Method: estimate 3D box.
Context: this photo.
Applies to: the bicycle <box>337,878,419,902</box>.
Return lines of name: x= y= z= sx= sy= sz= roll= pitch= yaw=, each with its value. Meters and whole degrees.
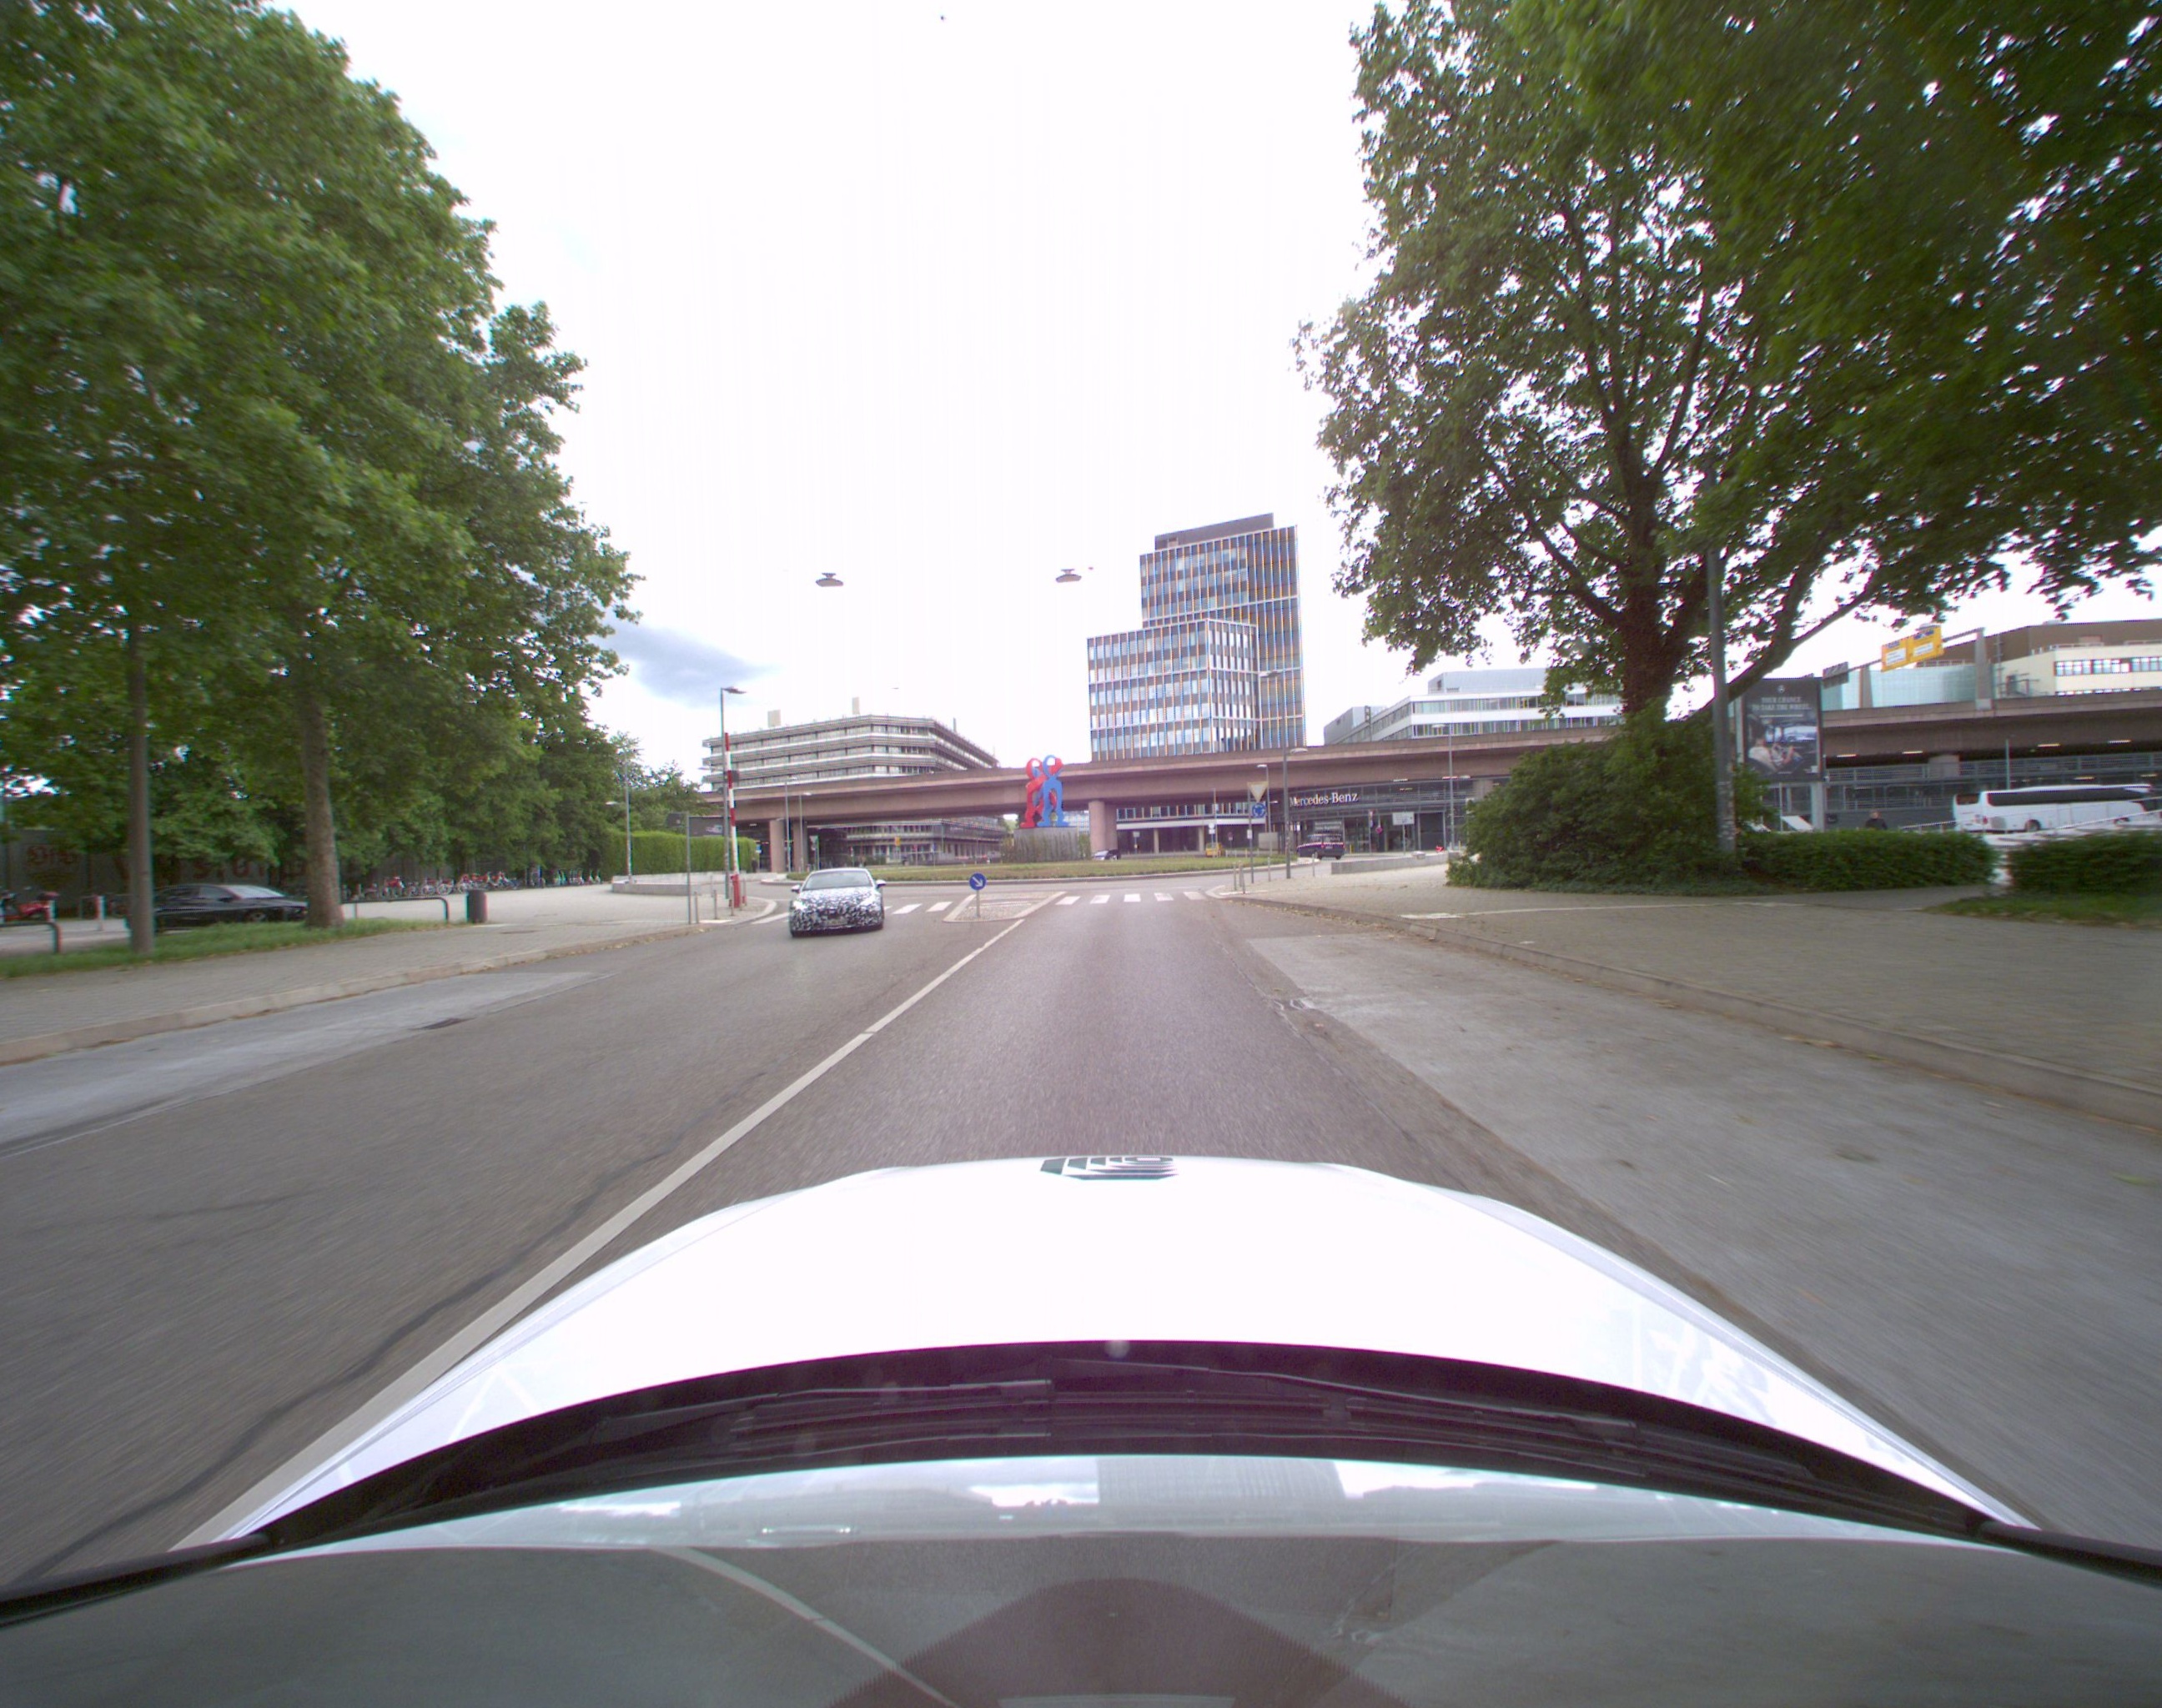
bicycle: x=-36.571 y=1.857 z=42.412 sx=3.187 sy=1.097 sz=0.769 roll=-1 pitch=-1 yaw=-15

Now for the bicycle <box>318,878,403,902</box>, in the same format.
bicycle: x=-36.289 y=1.818 z=41.074 sx=3.187 sy=1.097 sz=0.769 roll=-1 pitch=-1 yaw=-15

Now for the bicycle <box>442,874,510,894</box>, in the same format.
bicycle: x=-36.579 y=1.784 z=49.295 sx=3.188 sy=1.097 sz=0.769 roll=-1 pitch=0 yaw=-16

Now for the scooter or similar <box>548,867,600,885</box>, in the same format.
scooter or similar: x=-37.558 y=1.612 z=60.382 sx=3.188 sy=1.249 sz=0.769 roll=-1 pitch=0 yaw=-16

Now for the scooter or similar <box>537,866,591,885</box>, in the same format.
scooter or similar: x=-37.054 y=1.537 z=58.398 sx=3.188 sy=1.249 sz=0.769 roll=-1 pitch=0 yaw=-16

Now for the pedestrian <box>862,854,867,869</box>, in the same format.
pedestrian: x=-31.316 y=1.088 z=117.739 sx=0.588 sy=2.014 sz=0.597 roll=-1 pitch=0 yaw=-12

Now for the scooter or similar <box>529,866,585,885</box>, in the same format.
scooter or similar: x=-36.648 y=1.495 z=57.001 sx=3.188 sy=1.249 sz=0.769 roll=-1 pitch=0 yaw=-16

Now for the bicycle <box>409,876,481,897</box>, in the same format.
bicycle: x=-36.475 y=1.853 z=46.750 sx=3.188 sy=1.097 sz=0.769 roll=-1 pitch=0 yaw=-16

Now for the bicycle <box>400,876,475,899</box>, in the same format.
bicycle: x=-36.055 y=1.865 z=45.658 sx=3.188 sy=1.097 sz=0.769 roll=-3 pitch=0 yaw=-16

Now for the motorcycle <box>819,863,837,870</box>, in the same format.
motorcycle: x=-40.601 y=2.005 z=130.862 sx=2.630 sy=1.112 sz=1.044 roll=-2 pitch=0 yaw=21

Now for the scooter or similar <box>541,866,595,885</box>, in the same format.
scooter or similar: x=-37.415 y=1.560 z=59.451 sx=3.188 sy=1.249 sz=0.769 roll=-1 pitch=0 yaw=-16

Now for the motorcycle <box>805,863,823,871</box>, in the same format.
motorcycle: x=-41.939 y=2.032 z=128.082 sx=2.630 sy=1.112 sz=1.044 roll=-2 pitch=0 yaw=21

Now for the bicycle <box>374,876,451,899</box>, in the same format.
bicycle: x=-36.509 y=1.816 z=44.542 sx=3.188 sy=1.097 sz=0.769 roll=-2 pitch=0 yaw=-16

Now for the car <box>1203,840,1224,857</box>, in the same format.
car: x=16.613 y=-0.645 z=101.898 sx=1.978 sy=2.013 sz=4.018 roll=-2 pitch=0 yaw=17

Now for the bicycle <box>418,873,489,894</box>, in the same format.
bicycle: x=-36.799 y=1.701 z=47.785 sx=3.188 sy=1.097 sz=0.769 roll=-1 pitch=0 yaw=-16

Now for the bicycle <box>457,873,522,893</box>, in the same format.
bicycle: x=-36.649 y=1.786 z=50.506 sx=3.188 sy=1.097 sz=0.769 roll=-1 pitch=0 yaw=-16

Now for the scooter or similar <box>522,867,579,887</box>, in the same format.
scooter or similar: x=-36.396 y=1.561 z=55.908 sx=3.188 sy=1.249 sz=0.769 roll=-1 pitch=0 yaw=-16

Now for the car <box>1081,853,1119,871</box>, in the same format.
car: x=2.010 y=0.794 z=83.684 sx=1.974 sy=1.772 sz=4.026 roll=-2 pitch=0 yaw=34

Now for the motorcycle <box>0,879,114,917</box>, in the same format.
motorcycle: x=-35.935 y=1.544 z=28.478 sx=3.642 sy=1.222 sz=0.774 roll=-2 pitch=0 yaw=6

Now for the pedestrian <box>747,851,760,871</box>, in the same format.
pedestrian: x=-33.009 y=0.738 z=82.162 sx=1.043 sy=2.014 sz=0.596 roll=-1 pitch=0 yaw=-12

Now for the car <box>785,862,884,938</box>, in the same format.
car: x=-5.781 y=0.979 z=19.461 sx=1.904 sy=1.453 sz=4.790 roll=-4 pitch=1 yaw=-15

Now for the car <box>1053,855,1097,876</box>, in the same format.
car: x=-0.599 y=1.085 z=77.366 sx=3.692 sy=1.926 sz=1.930 roll=-2 pitch=0 yaw=17

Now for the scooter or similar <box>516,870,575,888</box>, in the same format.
scooter or similar: x=-36.131 y=1.688 z=55.003 sx=3.188 sy=1.097 sz=0.769 roll=-1 pitch=0 yaw=-16

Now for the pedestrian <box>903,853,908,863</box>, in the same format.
pedestrian: x=-35.970 y=0.793 z=166.800 sx=0.773 sy=2.013 sz=0.671 roll=-2 pitch=0 yaw=0

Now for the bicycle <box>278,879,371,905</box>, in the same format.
bicycle: x=-35.586 y=1.788 z=38.357 sx=3.187 sy=1.097 sz=0.769 roll=-1 pitch=-1 yaw=-15

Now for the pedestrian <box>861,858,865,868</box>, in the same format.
pedestrian: x=-45.009 y=1.867 z=168.048 sx=0.779 sy=2.014 sz=0.665 roll=-1 pitch=-1 yaw=-24

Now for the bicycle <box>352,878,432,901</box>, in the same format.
bicycle: x=-36.653 y=1.888 z=43.387 sx=3.188 sy=1.097 sz=0.769 roll=-1 pitch=0 yaw=-16

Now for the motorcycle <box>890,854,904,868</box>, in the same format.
motorcycle: x=-17.740 y=0.659 z=78.569 sx=0.664 sy=1.251 sz=1.890 roll=-2 pitch=0 yaw=10

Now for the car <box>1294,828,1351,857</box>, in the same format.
car: x=17.884 y=-0.824 z=60.587 sx=2.275 sy=2.013 sz=4.770 roll=-1 pitch=0 yaw=-8

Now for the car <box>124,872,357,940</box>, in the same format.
car: x=-23.625 y=1.417 z=23.084 sx=3.986 sy=1.605 sz=2.225 roll=-2 pitch=0 yaw=-9

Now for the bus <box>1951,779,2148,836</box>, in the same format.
bus: x=75.587 y=-3.595 z=63.787 sx=10.989 sy=3.934 sz=2.764 roll=-2 pitch=0 yaw=6
